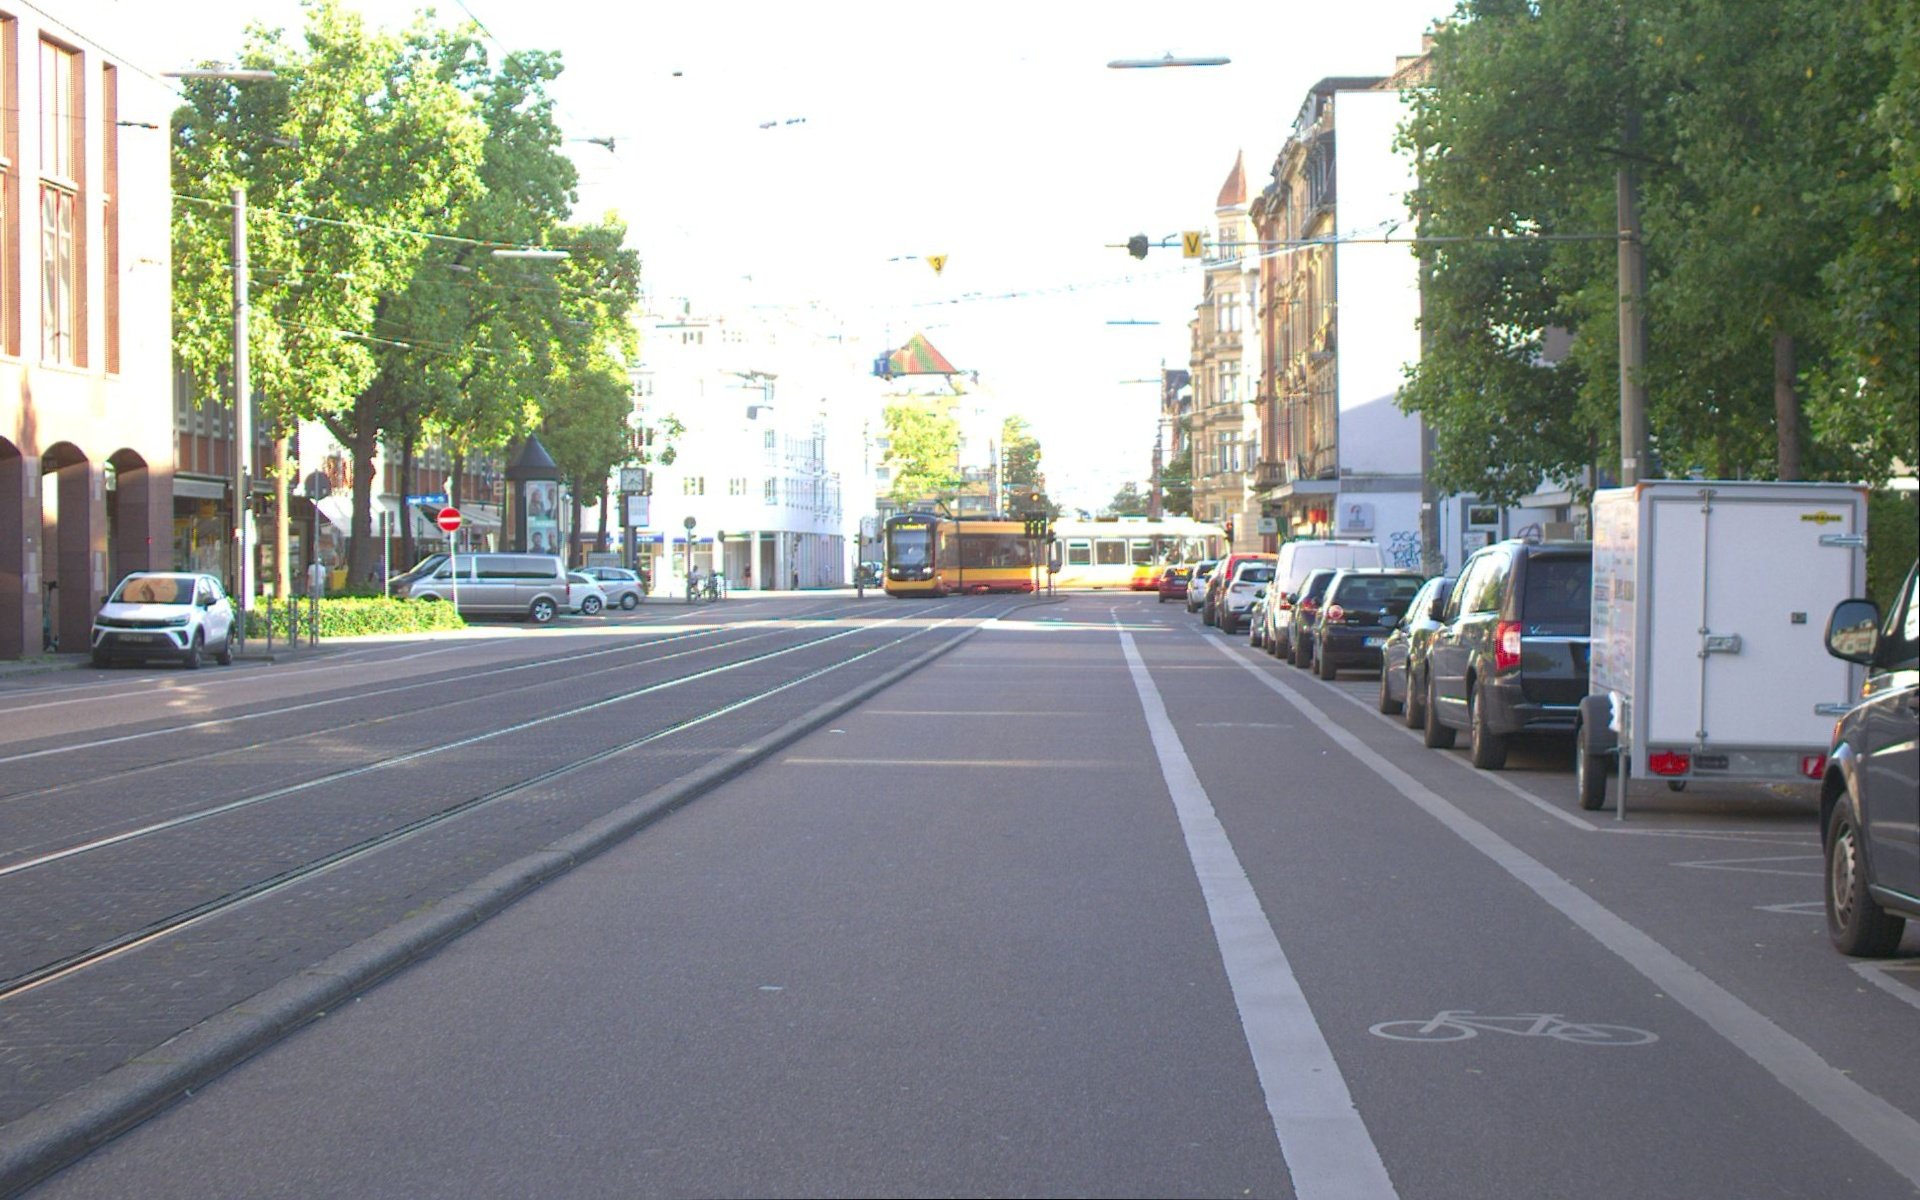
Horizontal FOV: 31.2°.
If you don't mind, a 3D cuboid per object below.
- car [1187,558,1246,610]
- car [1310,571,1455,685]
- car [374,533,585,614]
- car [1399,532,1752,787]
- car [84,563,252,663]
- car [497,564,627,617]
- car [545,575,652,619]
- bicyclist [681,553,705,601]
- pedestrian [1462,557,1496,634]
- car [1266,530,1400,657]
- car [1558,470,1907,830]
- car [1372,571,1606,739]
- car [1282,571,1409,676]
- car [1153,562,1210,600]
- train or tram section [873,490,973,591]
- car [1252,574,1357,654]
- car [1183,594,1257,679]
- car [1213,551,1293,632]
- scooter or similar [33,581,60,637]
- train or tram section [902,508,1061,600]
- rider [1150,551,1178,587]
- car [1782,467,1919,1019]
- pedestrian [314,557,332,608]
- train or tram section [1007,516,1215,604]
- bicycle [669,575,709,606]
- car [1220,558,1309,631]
[{"bbox_3d":[8.126,-0.524,109.090,1.621,1.550,4.083,2,1,2],"label":"car"},{"bbox_3d":[5.625,0.340,46.152,1.621,1.427,3.984,1,1,3],"label":"car"},{"bbox_3d":[-13.468,-0.713,96.399,5.251,2.036,2.419,2,-1,-29],"label":"car"},{"bbox_3d":[4.801,0.412,27.578,1.949,1.782,5.181,2,0,1],"label":"car"},{"bbox_3d":[-13.404,0.189,58.385,1.869,1.594,4.254,1,1,0],"label":"car"},{"bbox_3d":[-13.390,-0.307,115.696,3.868,1.622,1.876,2,1,-28],"label":"car"},{"bbox_3d":[-13.247,-0.104,126.077,3.519,1.476,1.582,2,1,-29],"label":"car"},{"bbox_3d":[-11.358,-0.976,146.218,0.698,2.007,0.724,2,1,-32],"label":"bicyclist"},{"bbox_3d":[11.706,-0.101,77.522,0.661,1.716,0.834,1,0,3],"label":"pedestrian"},{"bbox_3d":[6.184,-0.126,57.393,1.971,2.007,4.558,-1,1,3],"label":"car"},{"bbox_3d":[4.921,0.296,22.337,1.705,2.112,3.706,1,0,5],"label":"car"},{"bbox_3d":[5.151,0.486,33.999,1.716,1.422,4.675,1,2,2],"label":"car"},{"bbox_3d":[5.741,0.322,51.537,1.621,1.469,3.970,1,1,3],"label":"car"},{"bbox_3d":[8.728,-0.763,135.651,2.066,1.384,4.225,3,1,2],"label":"car"},{"bbox_3d":[-1.464,-2.449,145.239,2.692,3.946,12.087,3,1,6],"label":"train or tram section"},{"bbox_3d":[6.345,0.234,63.653,1.621,1.366,3.931,2,1,2],"label":"car"},{"bbox_3d":[6.533,0.901,86.594,1.621,2.000,3.831,2,1,2],"label":"car"},{"bbox_3d":[6.981,-0.217,82.193,1.621,1.807,4.083,2,1,2],"label":"car"},{"bbox_3d":[-15.866,0.149,59.702,0.362,0.935,0.973,3,1,-18],"label":"scooter or similar"},{"bbox_3d":[1.090,-2.025,156.762,2.695,3.865,12.829,3,1,21],"label":"train or tram section"},{"bbox_3d":[8.481,-1.297,142.948,0.885,1.476,0.711,3,1,32],"label":"rider"},{"bbox_3d":[4.233,0.506,11.598,1.955,1.862,4.988,2,1,4],"label":"car"},{"bbox_3d":[-17.283,-0.477,93.230,0.362,1.338,0.483,3,0,-18],"label":"pedestrian"},{"bbox_3d":[7.378,-1.911,166.153,11.256,3.739,2.700,2,1,-42],"label":"train or tram section"},{"bbox_3d":[-11.541,-0.401,146.463,0.698,1.235,2.026,2,1,-34],"label":"bicycle"},{"bbox_3d":[6.711,-0.134,76.109,1.723,1.562,4.083,0,1,2],"label":"car"}]
